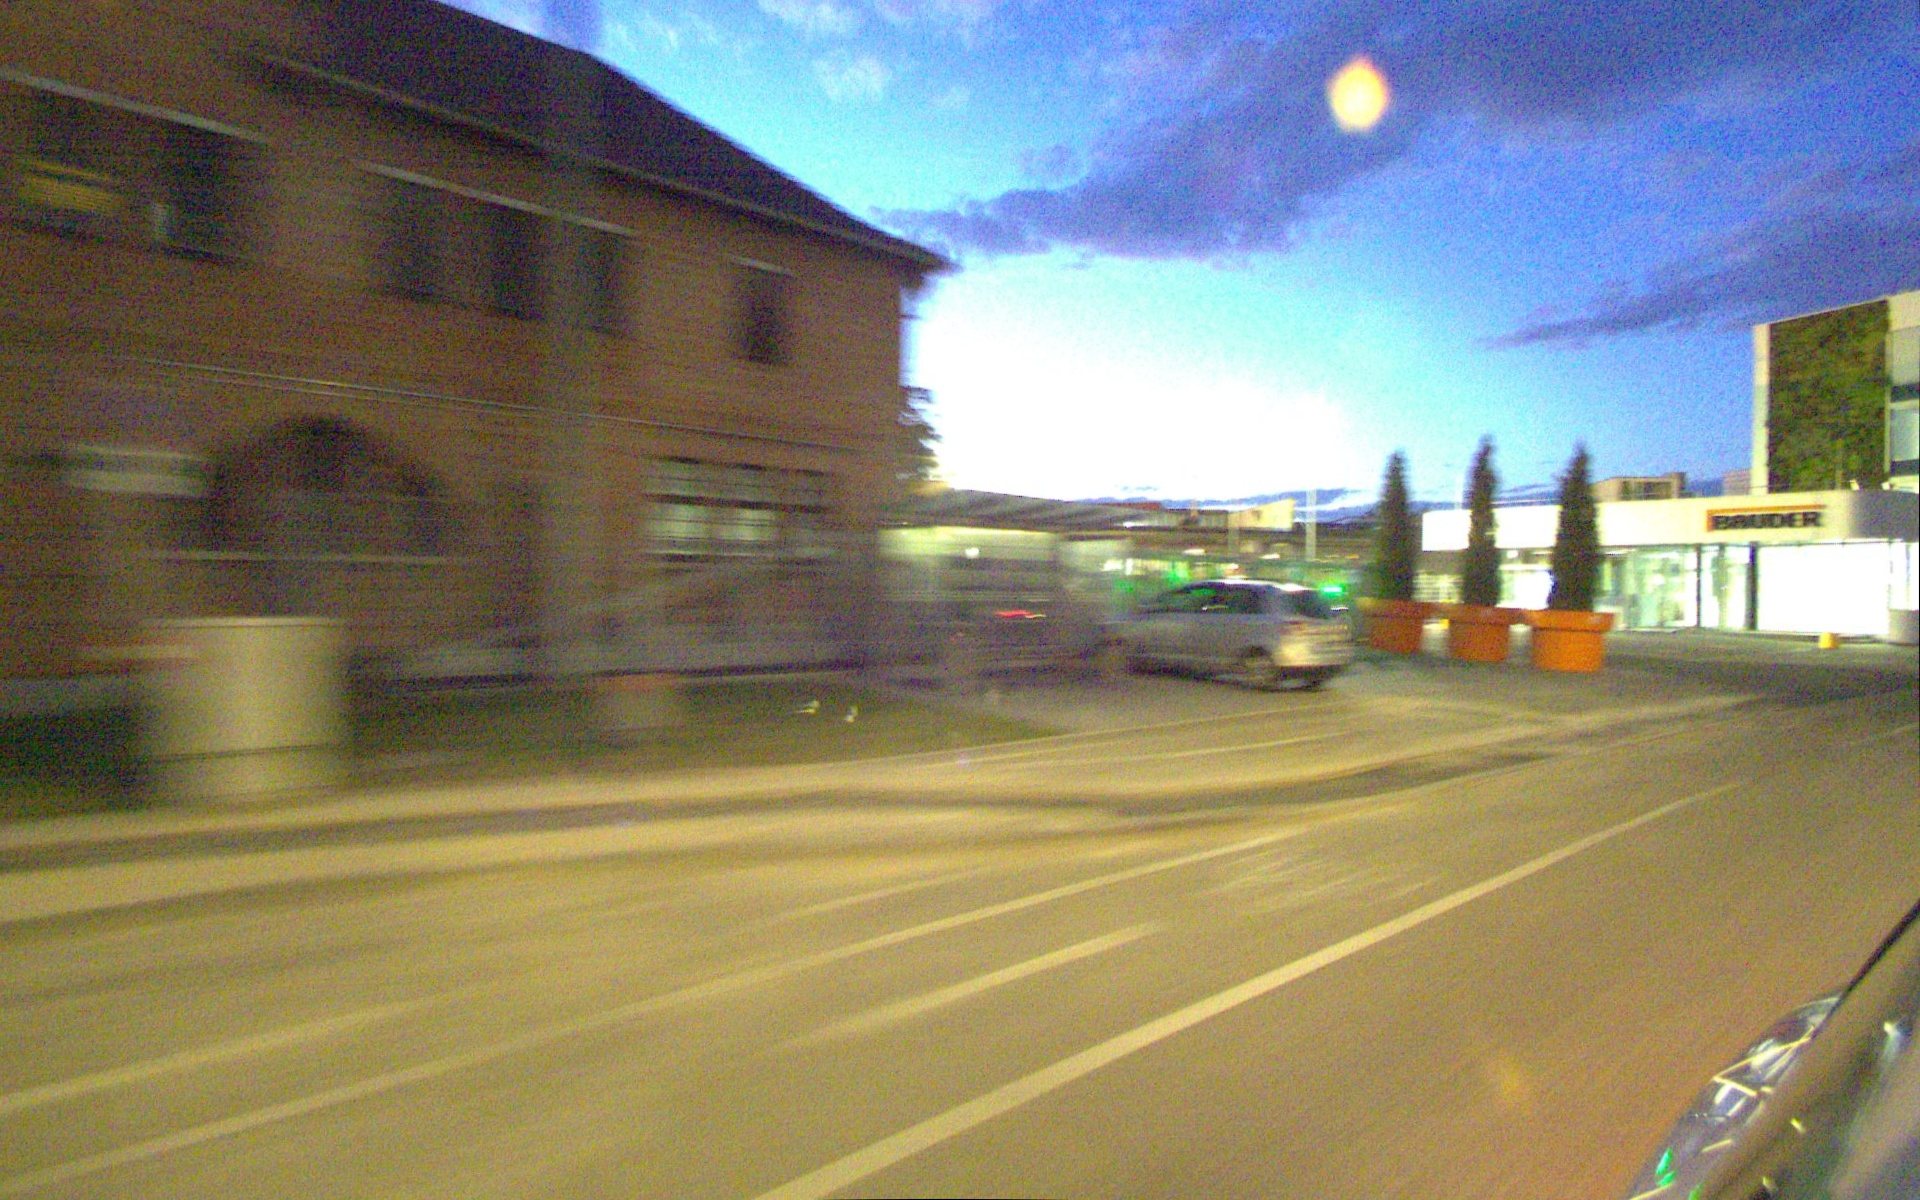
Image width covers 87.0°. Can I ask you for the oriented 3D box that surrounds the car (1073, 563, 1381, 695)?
[{"bbox_3d":[4.069,0.344,15.981,1.860,1.666,4.333,1,3,-43],"label":"car"}]
